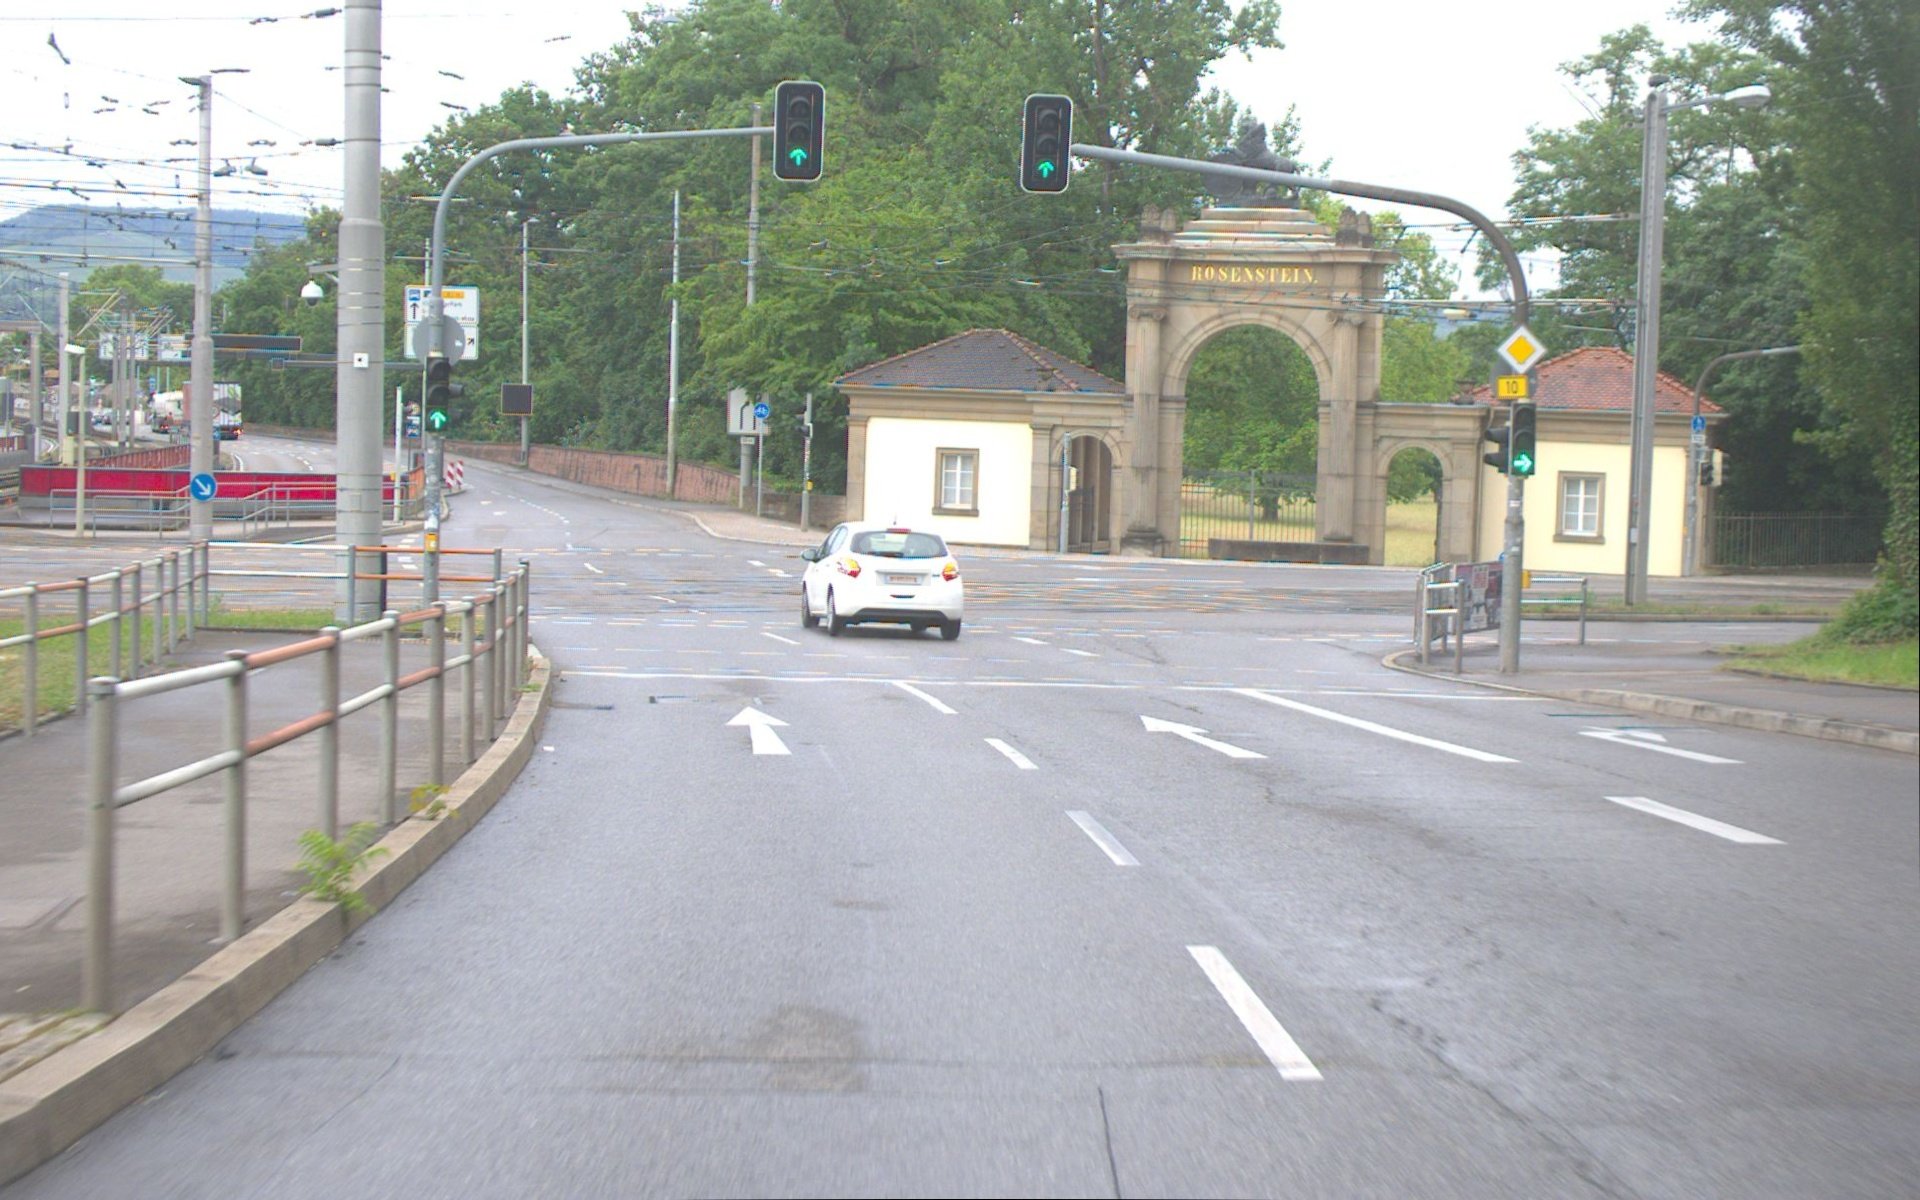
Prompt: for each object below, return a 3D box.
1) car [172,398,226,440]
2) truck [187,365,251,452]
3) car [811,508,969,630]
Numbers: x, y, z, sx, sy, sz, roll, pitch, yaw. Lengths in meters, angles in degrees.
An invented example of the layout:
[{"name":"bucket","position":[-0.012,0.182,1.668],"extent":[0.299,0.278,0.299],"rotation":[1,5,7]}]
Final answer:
[{"name":"car","position":[-33.911,-8.047,153.165],"extent":[1.993,1.866,4.002],"rotation":[-1,3,-17]},{"name":"truck","position":[-52.049,-13.352,241.254],"extent":[3.463,5.382,12.055],"rotation":[1,0,-16]},{"name":"car","position":[-0.924,-0.381,45.012],"extent":[1.955,1.483,4.000],"rotation":[1,0,-1]}]
